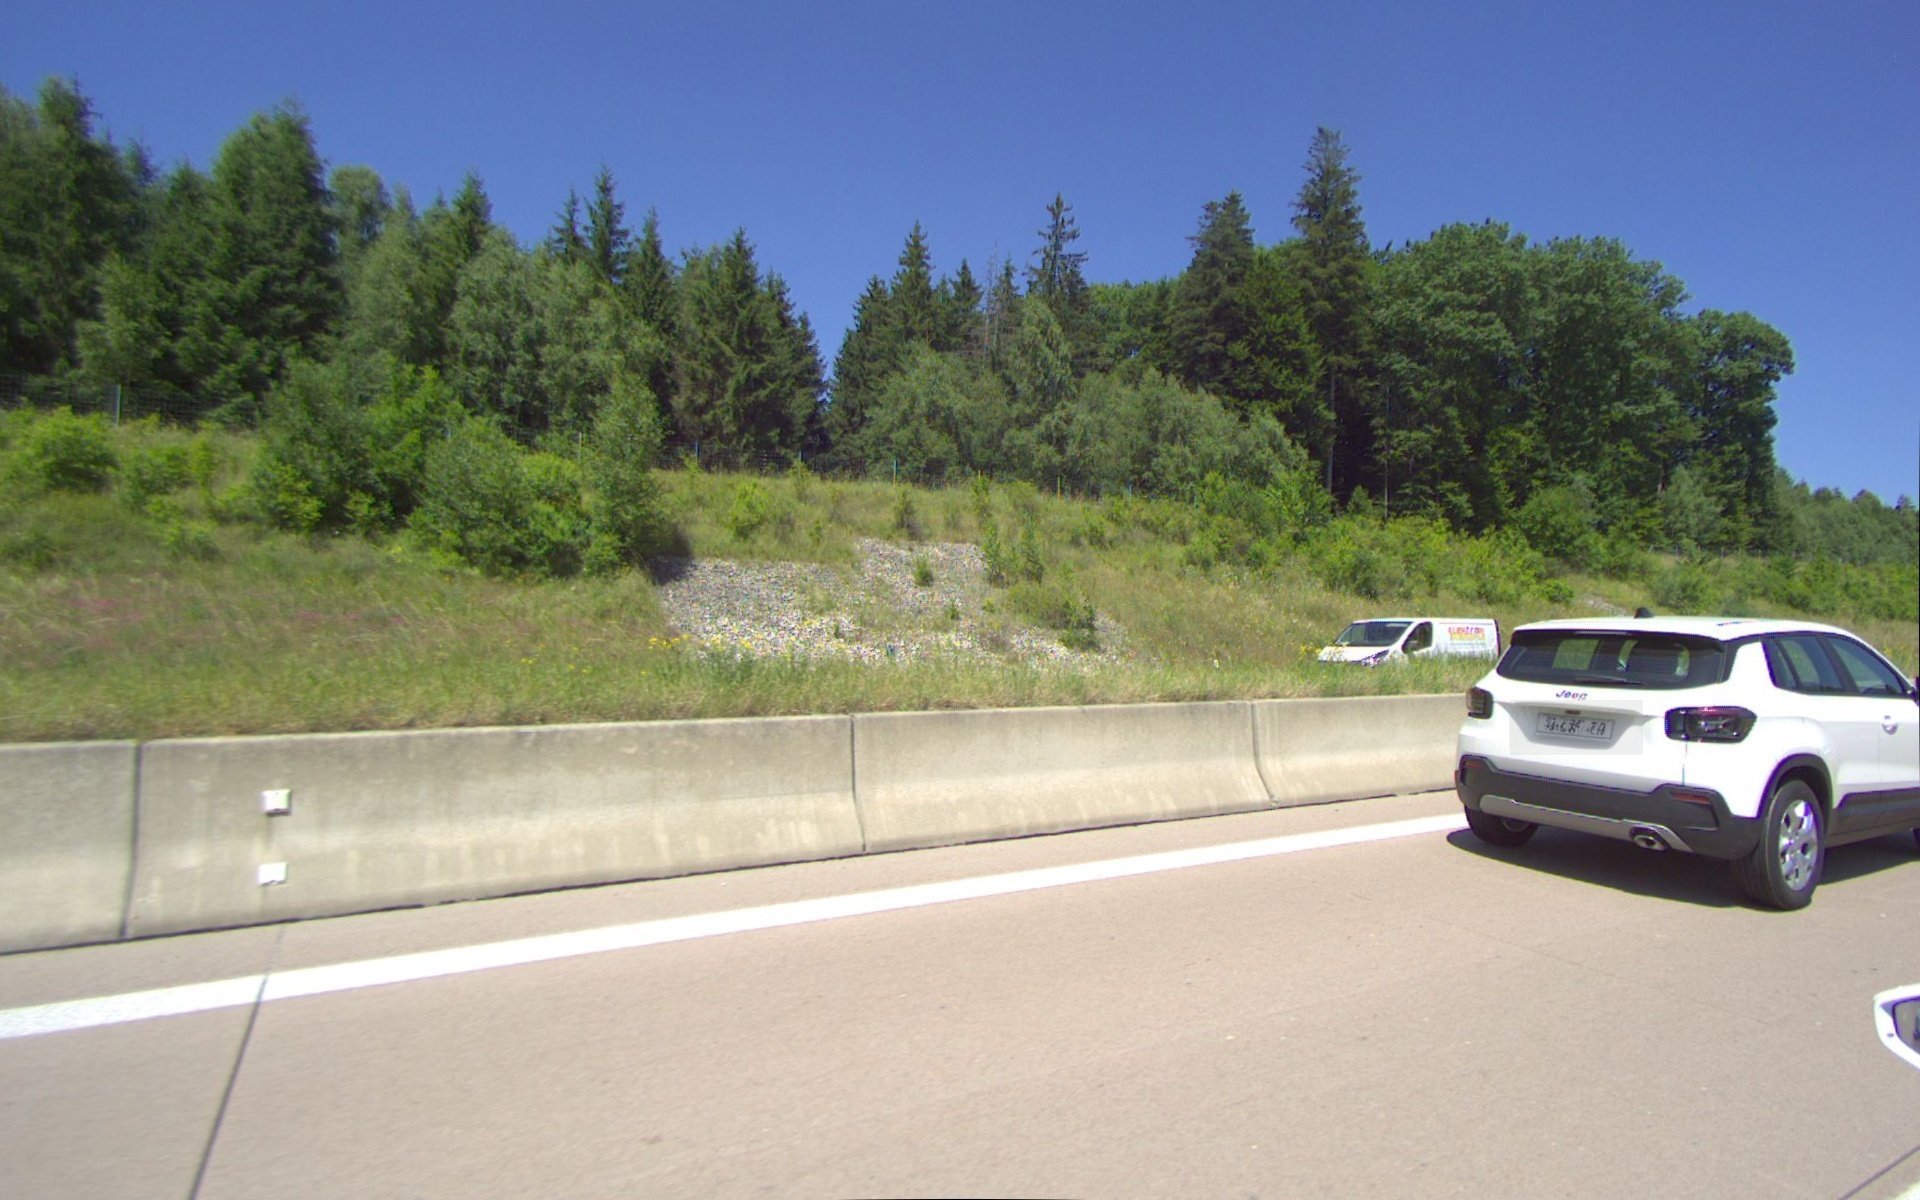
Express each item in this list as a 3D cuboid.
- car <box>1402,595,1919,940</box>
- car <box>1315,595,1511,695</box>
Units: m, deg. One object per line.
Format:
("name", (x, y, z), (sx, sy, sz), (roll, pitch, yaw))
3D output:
("car", (5.337, 0.852, 6.770), (4.777, 1.628, 1.870), (2, -1, -30))
("car", (10.436, 0.971, 23.041), (4.612, 2.092, 1.880), (1, 0, -32))
